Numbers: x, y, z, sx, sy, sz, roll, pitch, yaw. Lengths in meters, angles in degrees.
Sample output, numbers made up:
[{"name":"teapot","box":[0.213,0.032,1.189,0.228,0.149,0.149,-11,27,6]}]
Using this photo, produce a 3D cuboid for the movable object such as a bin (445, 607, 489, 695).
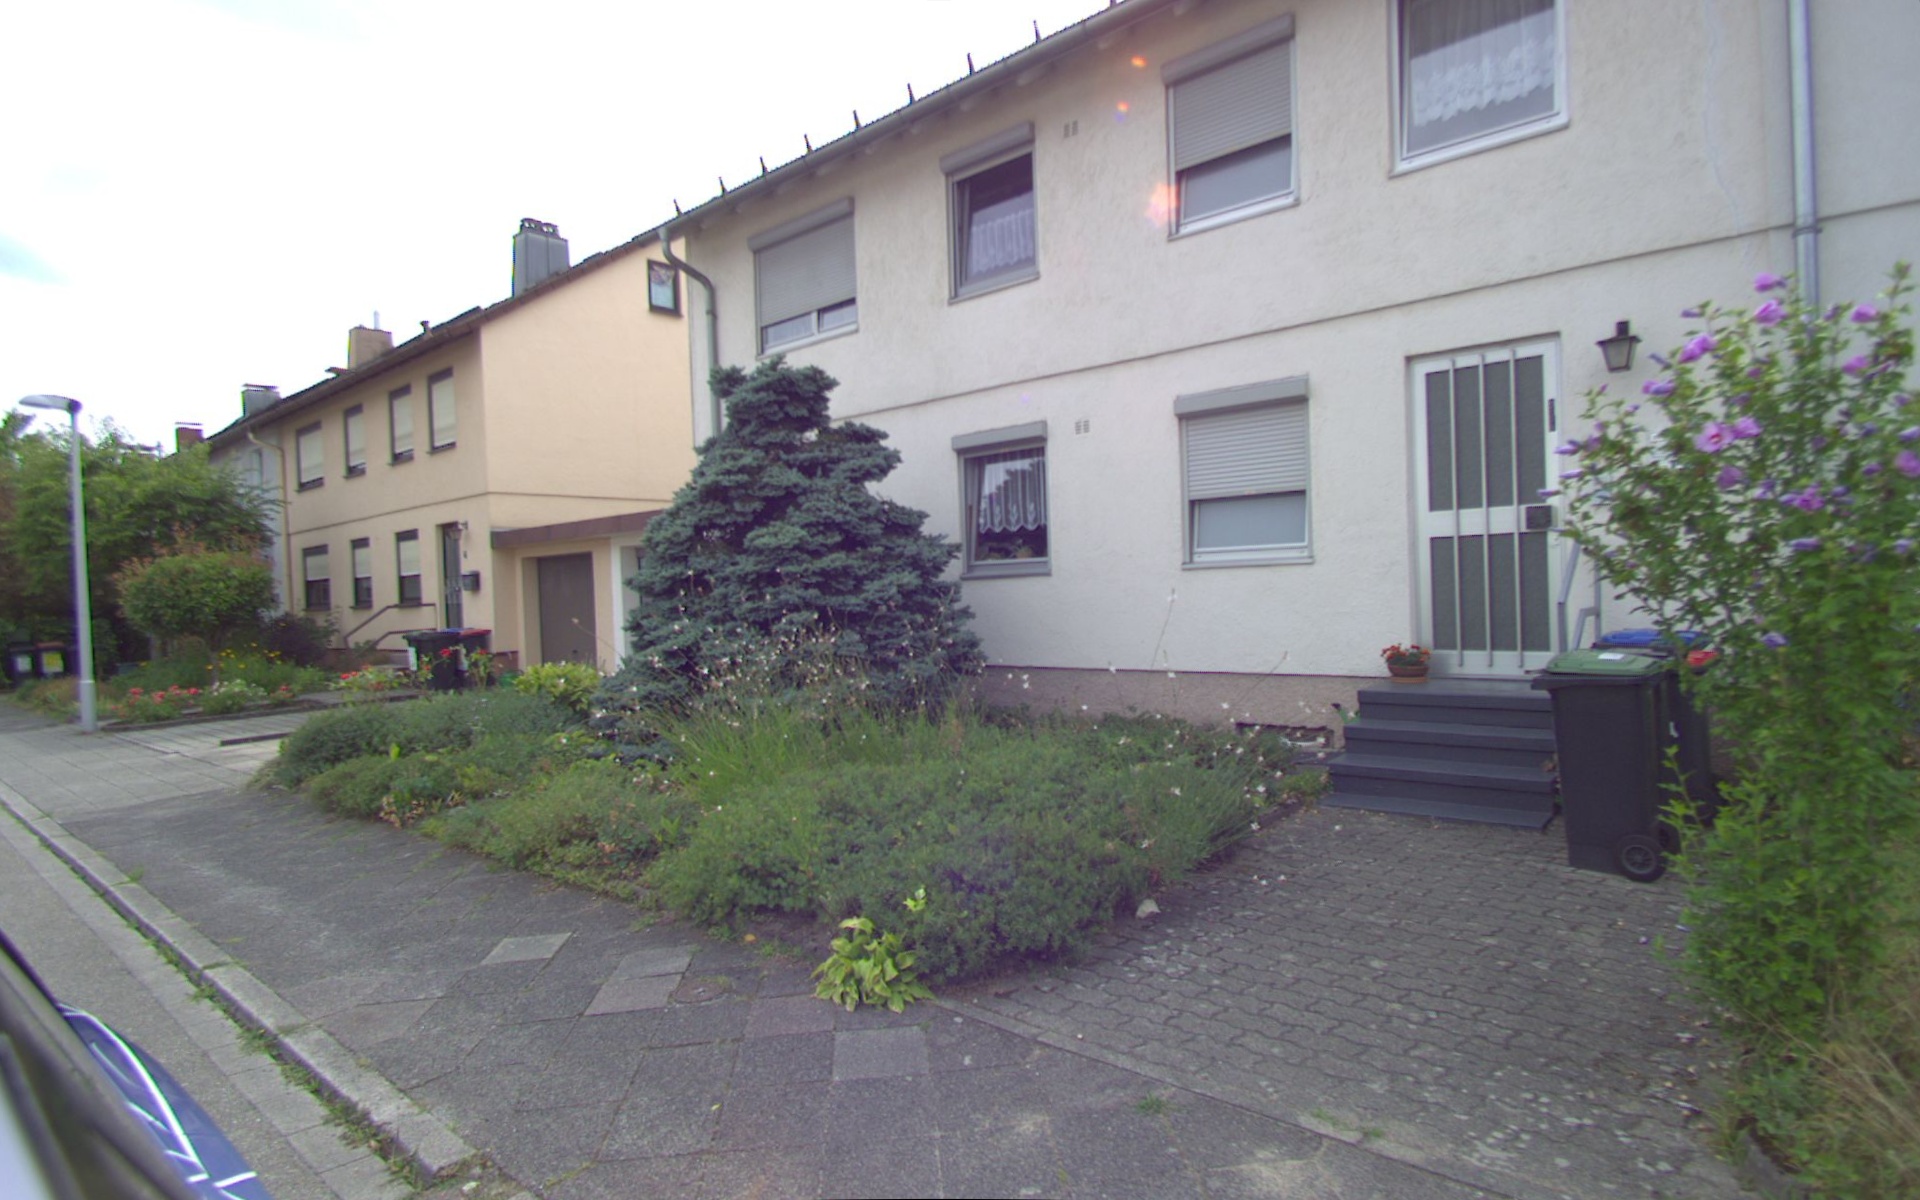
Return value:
[{"name":"movable object such as a bin","box":[-7.990,0.820,16.401,0.610,1.395,0.406,-2,-1,41]}]

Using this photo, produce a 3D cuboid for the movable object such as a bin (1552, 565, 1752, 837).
[{"name":"movable object such as a bin","box":[3.517,0.468,5.143,0.734,1.249,0.689,-2,-1,41]}]

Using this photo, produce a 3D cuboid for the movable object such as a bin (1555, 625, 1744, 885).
[{"name":"movable object such as a bin","box":[3.062,0.633,4.488,0.598,1.015,0.668,-2,-1,41]}]

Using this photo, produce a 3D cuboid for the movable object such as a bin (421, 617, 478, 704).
[{"name":"movable object such as a bin","box":[-8.498,0.995,16.846,0.632,1.395,0.646,-2,-1,41]}]

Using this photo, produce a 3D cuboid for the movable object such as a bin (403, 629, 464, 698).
[{"name":"movable object such as a bin","box":[-8.260,0.987,15.883,0.632,1.029,0.646,-2,-1,41]}]

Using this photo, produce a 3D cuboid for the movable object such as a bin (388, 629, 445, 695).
[{"name":"movable object such as a bin","box":[-8.738,0.990,16.269,0.541,1.010,0.646,-2,-1,41]}]
